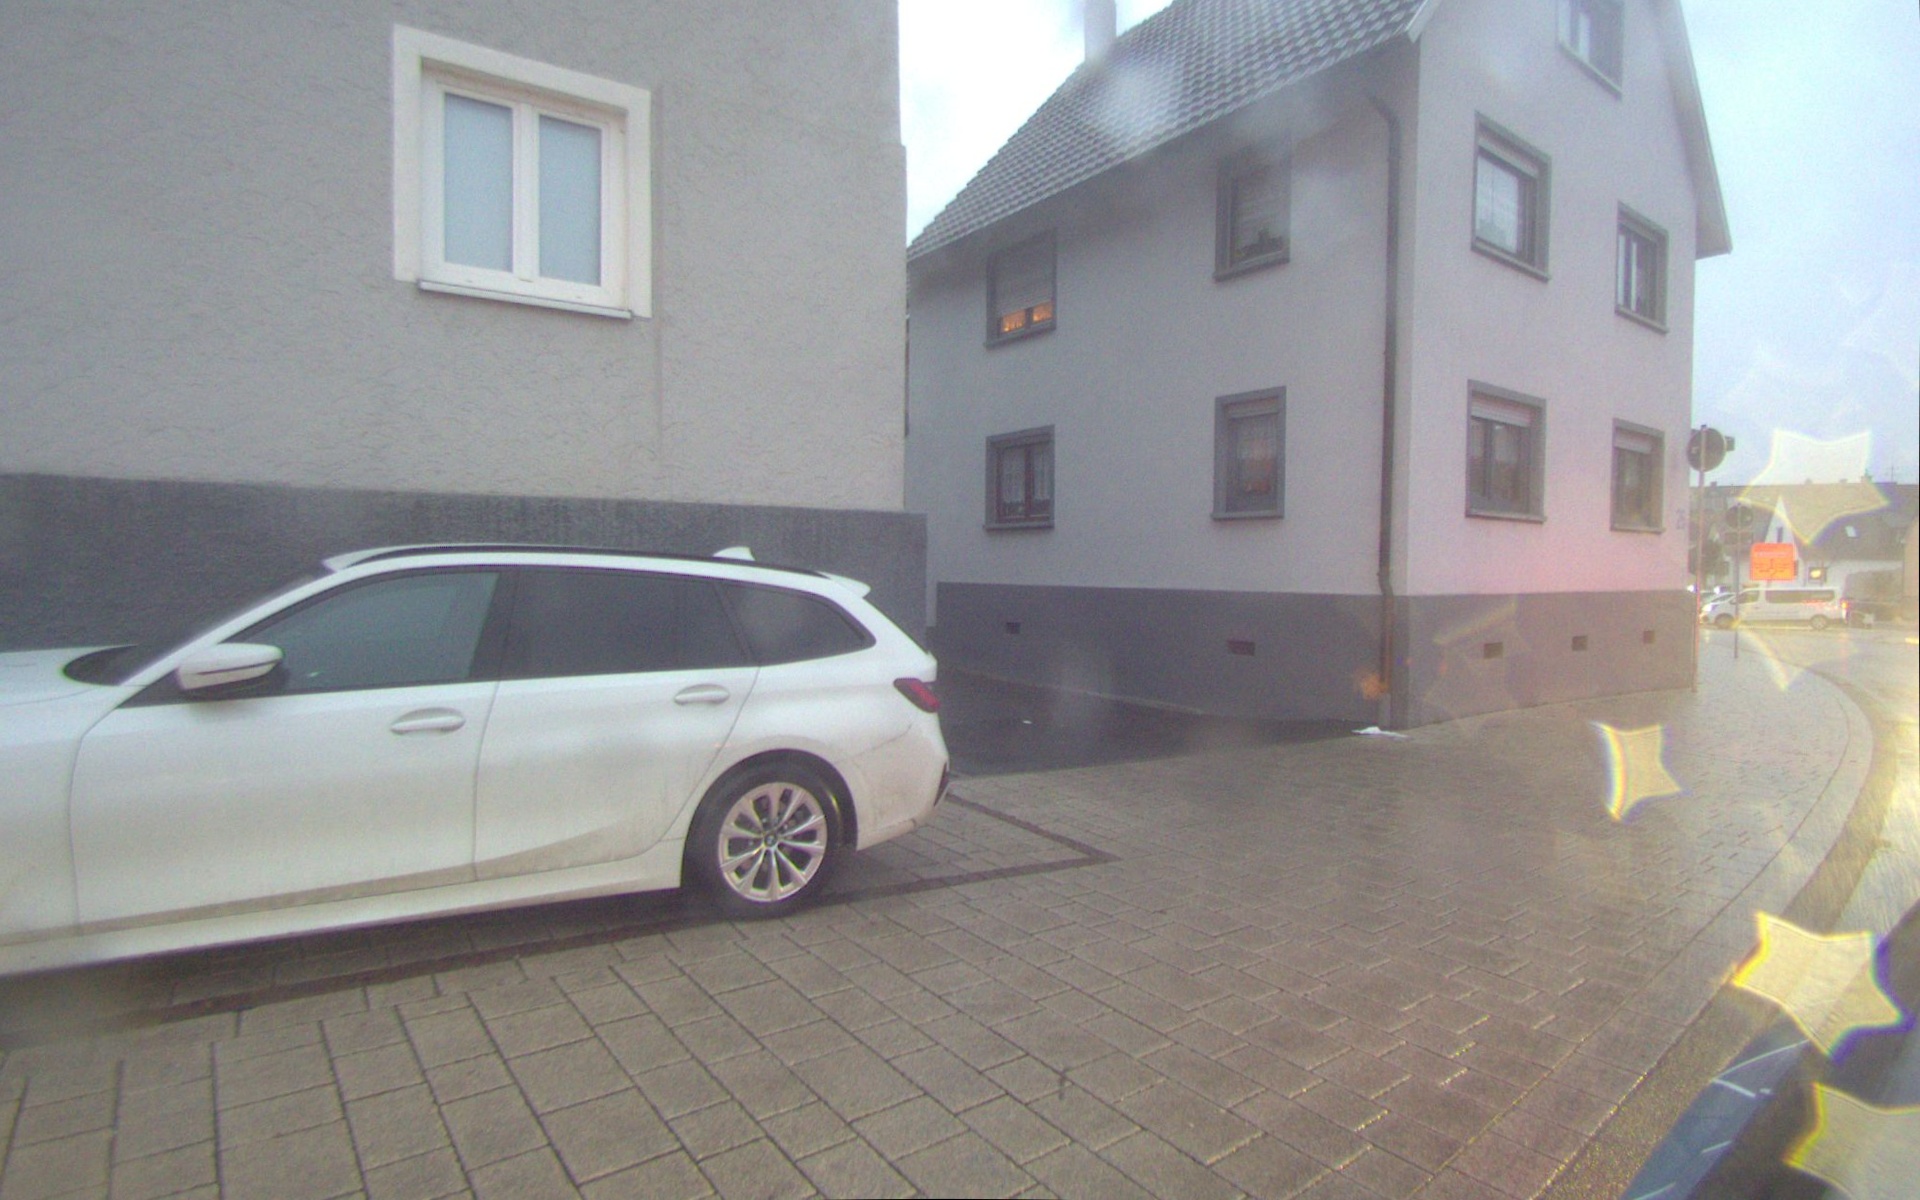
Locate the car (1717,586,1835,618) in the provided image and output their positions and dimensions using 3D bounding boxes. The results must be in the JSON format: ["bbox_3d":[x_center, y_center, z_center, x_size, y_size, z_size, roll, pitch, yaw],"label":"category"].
[{"bbox_3d":[46.826,0.101,58.214,4.823,1.705,1.986,2,0,21],"label":"car"}]

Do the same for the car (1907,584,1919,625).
[{"bbox_3d":[41.496,0.246,40.715,4.393,1.652,2.142,1,1,20],"label":"car"}]

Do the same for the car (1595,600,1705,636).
[{"bbox_3d":[32.530,0.825,47.844,1.850,1.524,4.122,0,1,-14],"label":"car"}]

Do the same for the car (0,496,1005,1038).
[{"bbox_3d":[-2.209,0.423,4.108,4.452,1.484,1.892,1,2,-31],"label":"car"}]

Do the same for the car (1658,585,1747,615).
[{"bbox_3d":[49.464,-0.009,67.506,4.370,1.824,1.833,2,1,19],"label":"car"}]

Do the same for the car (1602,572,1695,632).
[{"bbox_3d":[24.883,0.041,36.748,1.959,1.984,4.810,2,1,25],"label":"car"}]

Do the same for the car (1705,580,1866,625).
[{"bbox_3d":[38.645,0.114,47.542,5.755,1.970,1.961,0,0,41],"label":"car"}]
